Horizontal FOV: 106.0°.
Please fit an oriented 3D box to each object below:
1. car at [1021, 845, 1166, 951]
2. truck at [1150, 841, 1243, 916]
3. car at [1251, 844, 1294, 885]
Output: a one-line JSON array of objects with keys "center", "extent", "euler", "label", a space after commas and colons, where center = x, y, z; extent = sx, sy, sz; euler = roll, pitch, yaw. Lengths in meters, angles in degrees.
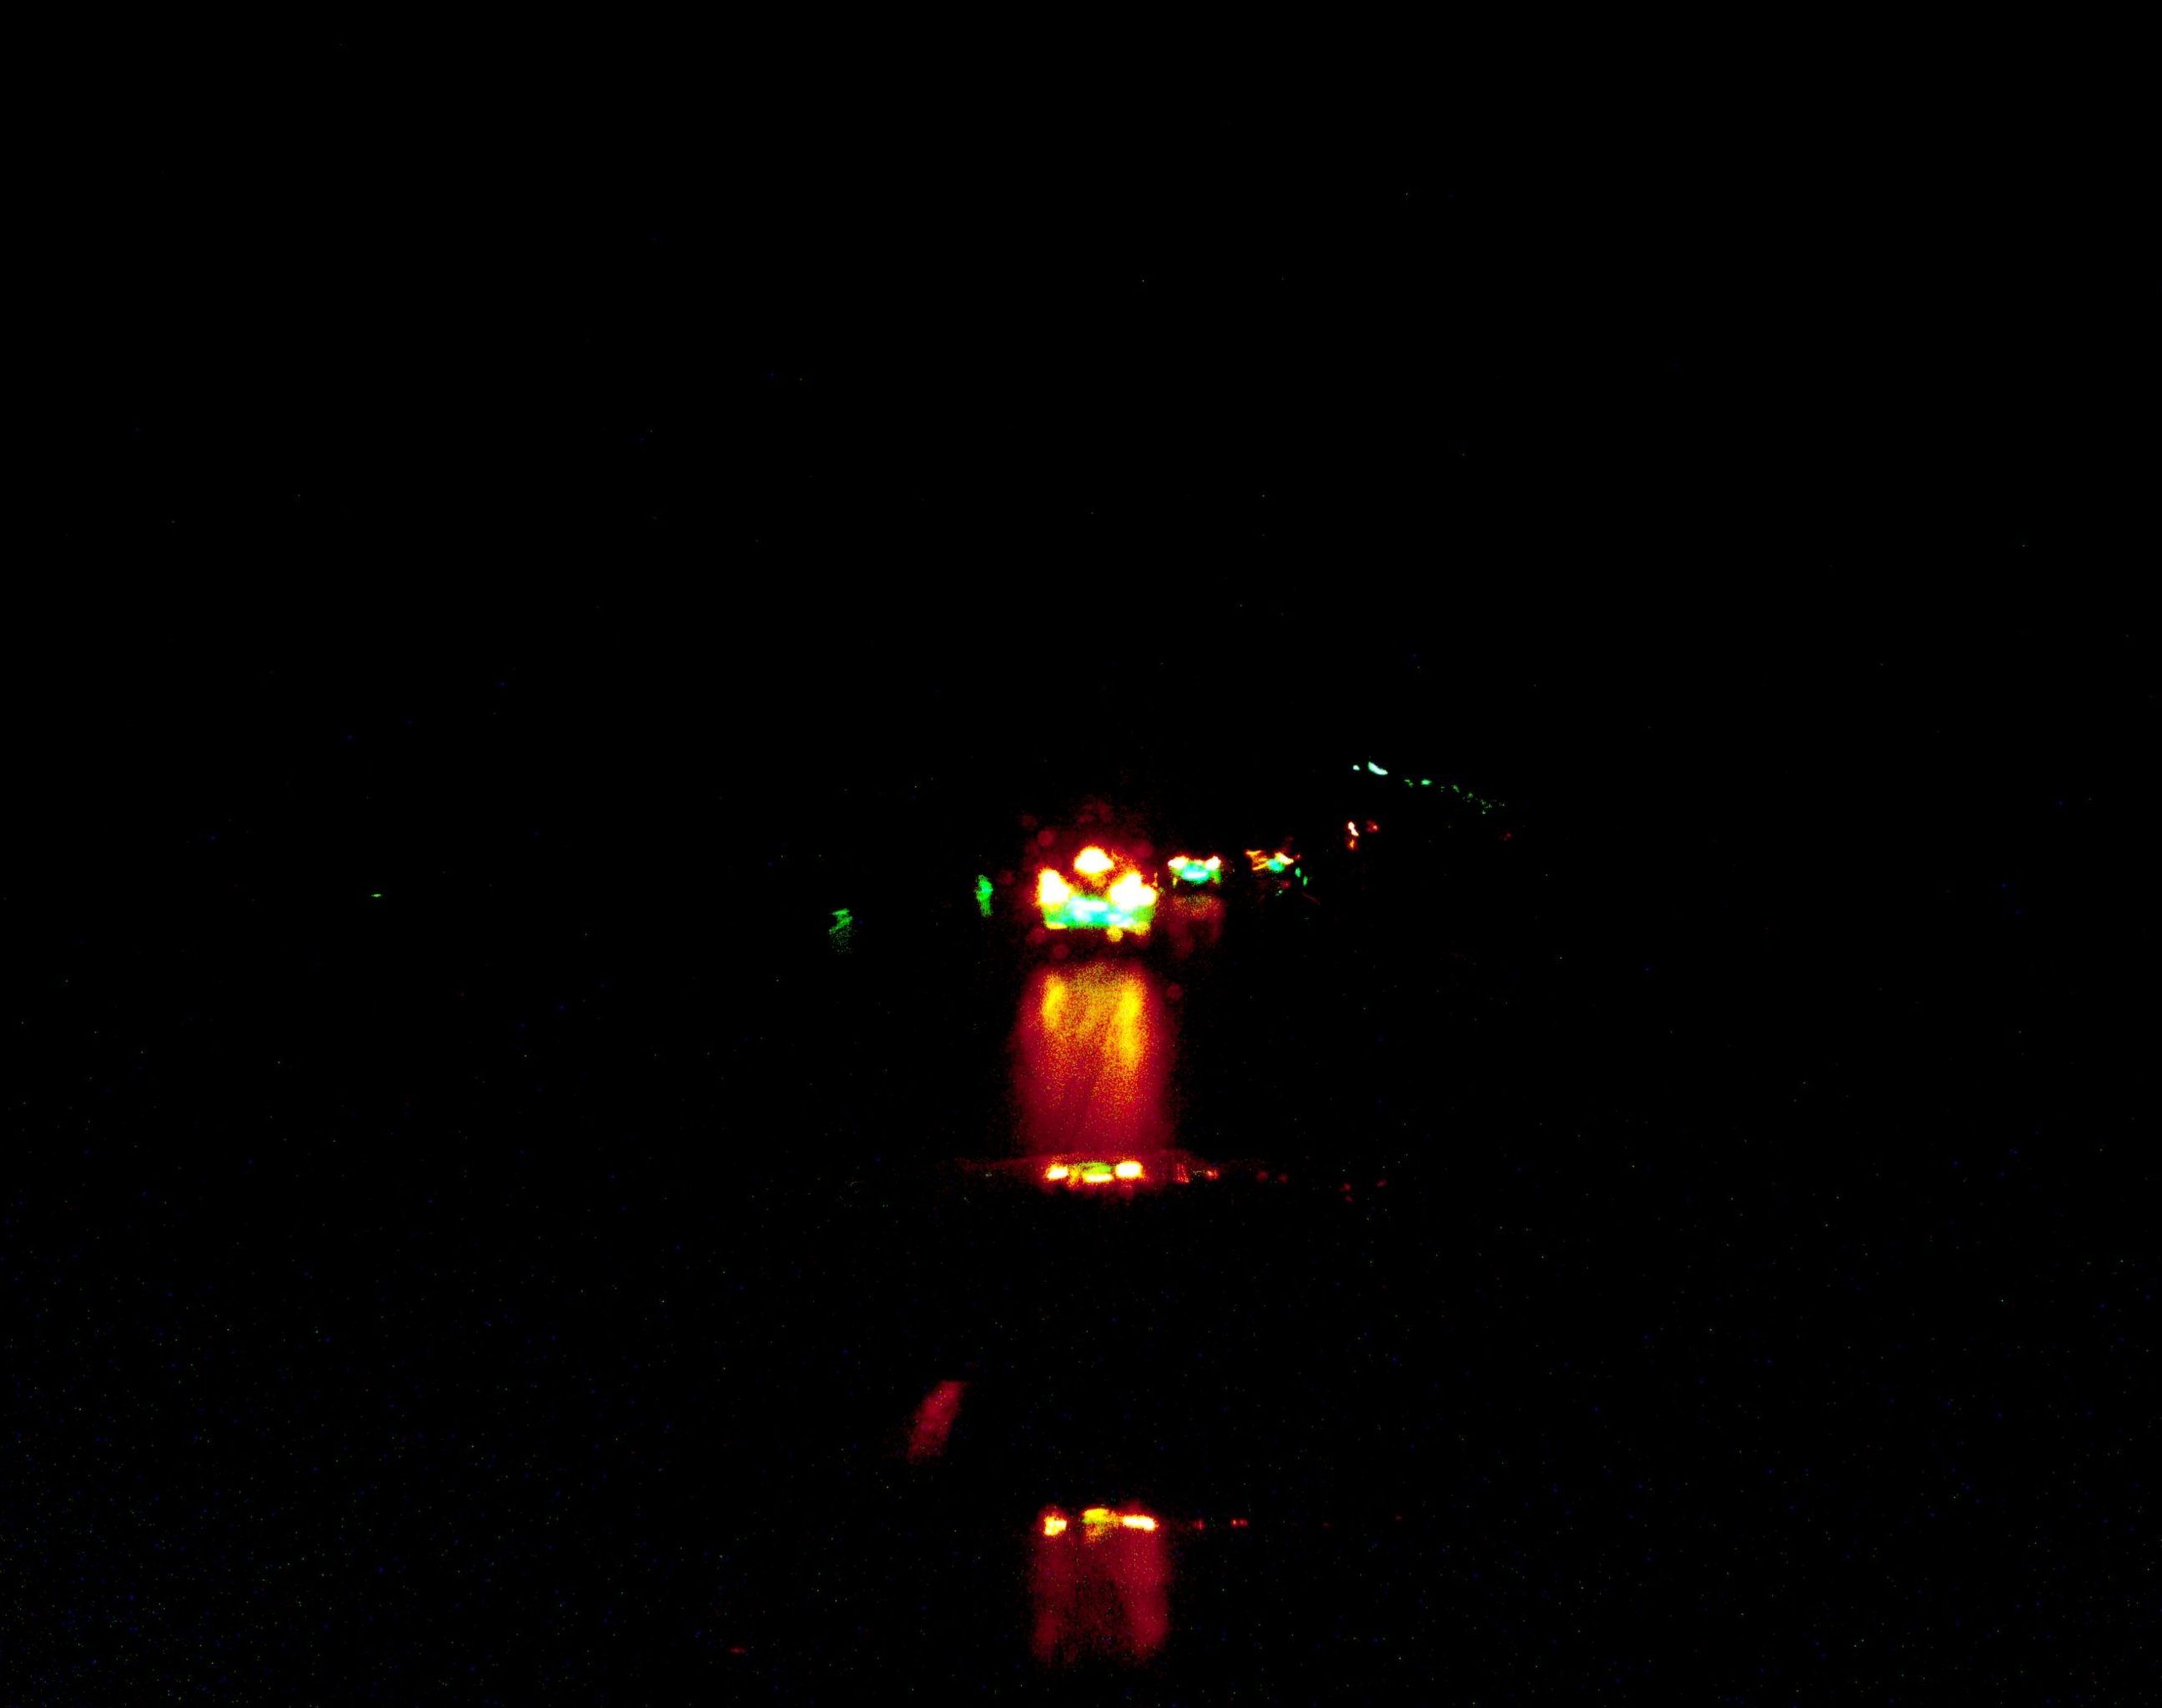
[{"center": [0.365, 0.663, 14.147], "extent": [1.933, 1.491, 3.725], "euler": [-4, 0, 8], "label": "car"}, {"center": [4.655, 0.865, 31.532], "extent": [3.049, 2.528, 7.190], "euler": [-1, 0, 12], "label": "truck"}, {"center": [9.914, 0.515, 41.917], "extent": [1.822, 1.948, 4.018], "euler": [-1, 0, 17], "label": "car"}]
